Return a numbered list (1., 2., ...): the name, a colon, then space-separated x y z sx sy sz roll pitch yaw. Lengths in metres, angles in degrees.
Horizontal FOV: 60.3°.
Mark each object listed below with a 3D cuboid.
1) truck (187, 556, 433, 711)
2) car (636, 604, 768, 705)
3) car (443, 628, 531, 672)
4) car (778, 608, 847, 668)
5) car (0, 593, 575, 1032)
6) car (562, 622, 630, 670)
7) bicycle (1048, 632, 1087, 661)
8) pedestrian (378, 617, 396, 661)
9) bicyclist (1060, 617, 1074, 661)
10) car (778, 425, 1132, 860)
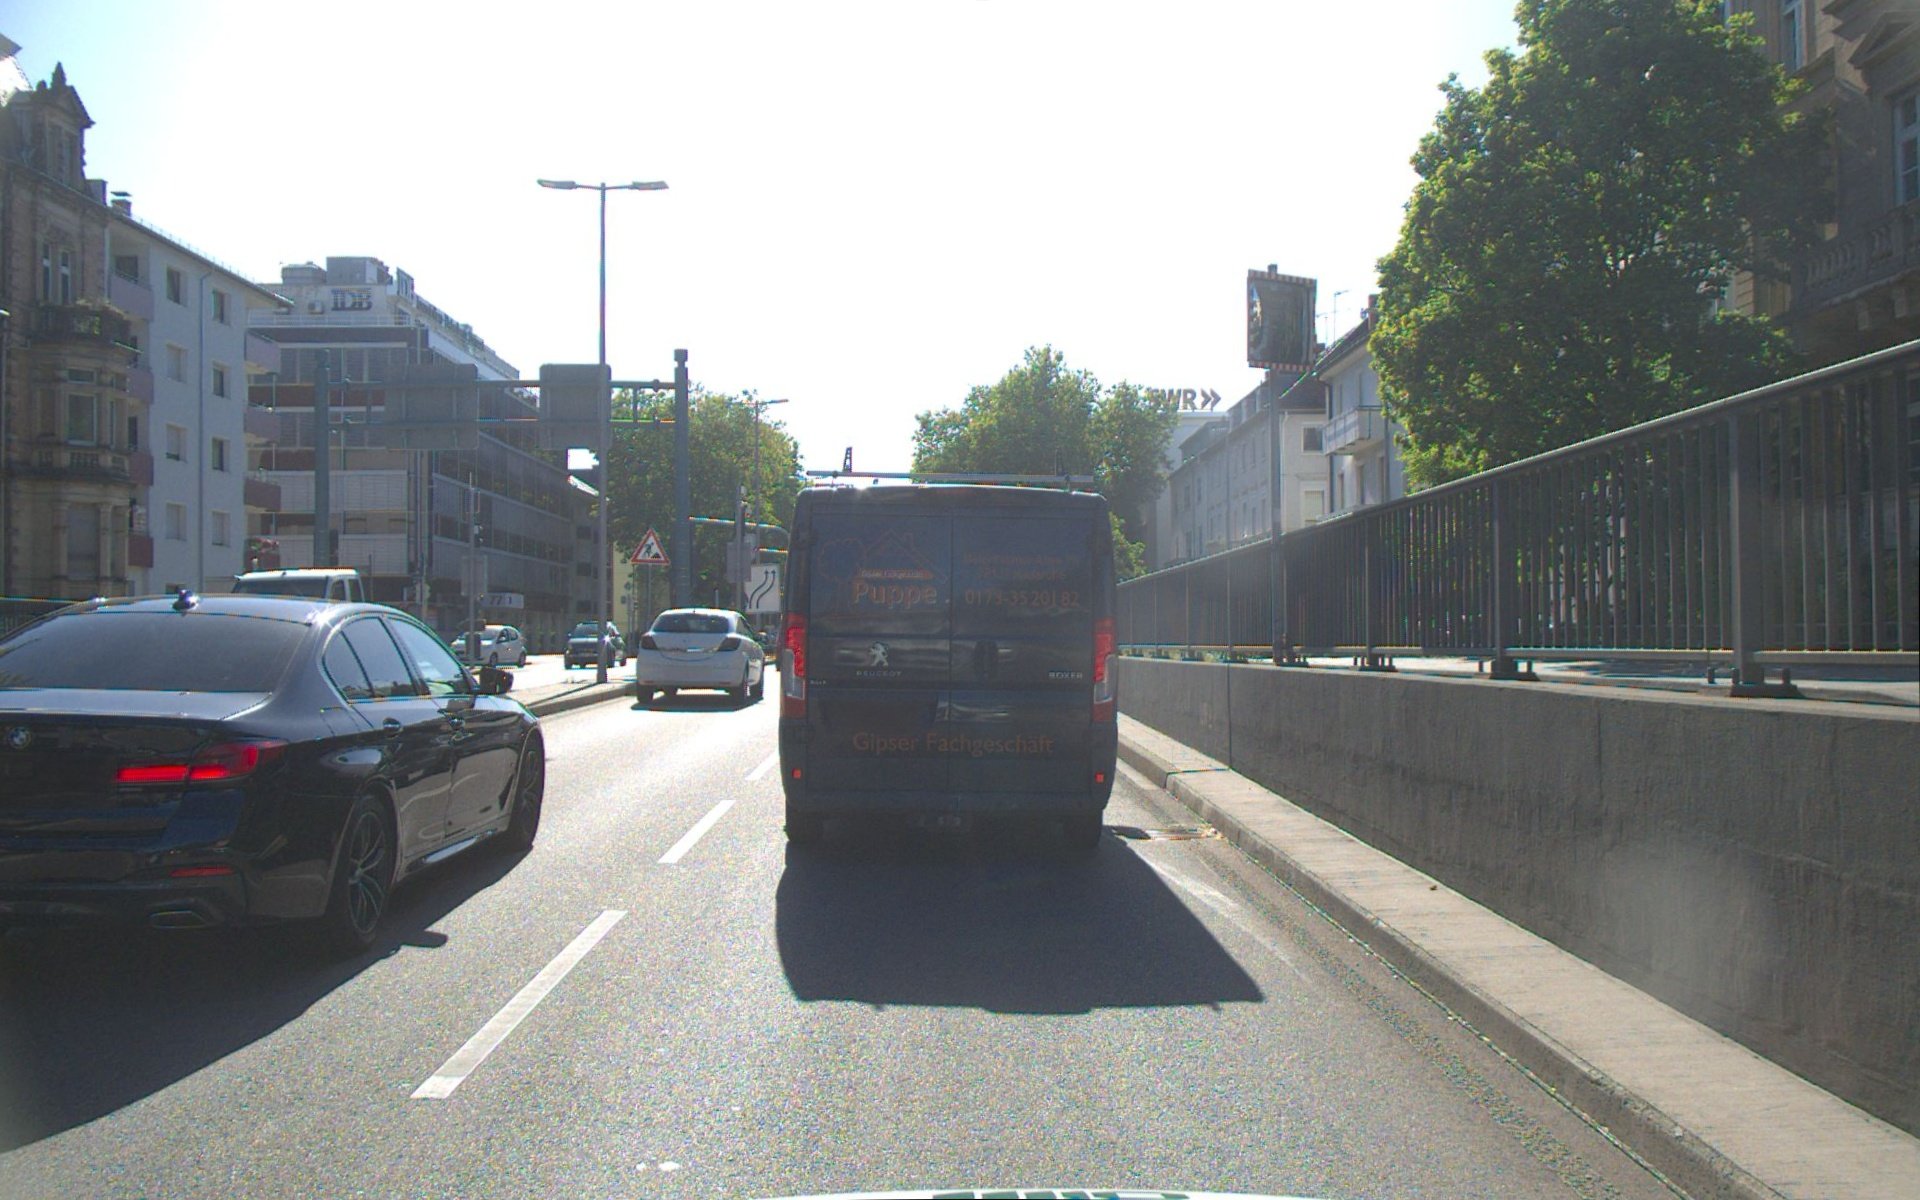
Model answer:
1. truck: -12.000 0.533 31.119 2.183 2.572 6.128 -2 1 0
2. car: -4.041 0.813 26.436 1.586 1.428 3.851 1 0 -2
3. car: -16.385 1.719 57.426 1.640 1.434 3.618 0 -1 7
4. car: -3.949 1.005 44.796 1.655 1.509 3.317 1 0 -2
5. car: -3.289 0.716 8.089 1.772 1.464 5.000 1 0 -2
6. car: -12.114 1.510 55.244 1.559 1.470 3.494 -3 -1 -2
7. bicycle: 4.444 1.925 68.225 1.534 1.138 0.570 1 -1 -2
8. pedestrian: -25.461 1.738 73.549 0.647 1.929 0.720 1 -1 -14
9. bicyclist: 4.396 1.604 68.217 0.499 1.766 0.597 1 -1 -2
10. car: -0.067 0.265 11.332 1.989 2.445 3.971 0 -1 -1
